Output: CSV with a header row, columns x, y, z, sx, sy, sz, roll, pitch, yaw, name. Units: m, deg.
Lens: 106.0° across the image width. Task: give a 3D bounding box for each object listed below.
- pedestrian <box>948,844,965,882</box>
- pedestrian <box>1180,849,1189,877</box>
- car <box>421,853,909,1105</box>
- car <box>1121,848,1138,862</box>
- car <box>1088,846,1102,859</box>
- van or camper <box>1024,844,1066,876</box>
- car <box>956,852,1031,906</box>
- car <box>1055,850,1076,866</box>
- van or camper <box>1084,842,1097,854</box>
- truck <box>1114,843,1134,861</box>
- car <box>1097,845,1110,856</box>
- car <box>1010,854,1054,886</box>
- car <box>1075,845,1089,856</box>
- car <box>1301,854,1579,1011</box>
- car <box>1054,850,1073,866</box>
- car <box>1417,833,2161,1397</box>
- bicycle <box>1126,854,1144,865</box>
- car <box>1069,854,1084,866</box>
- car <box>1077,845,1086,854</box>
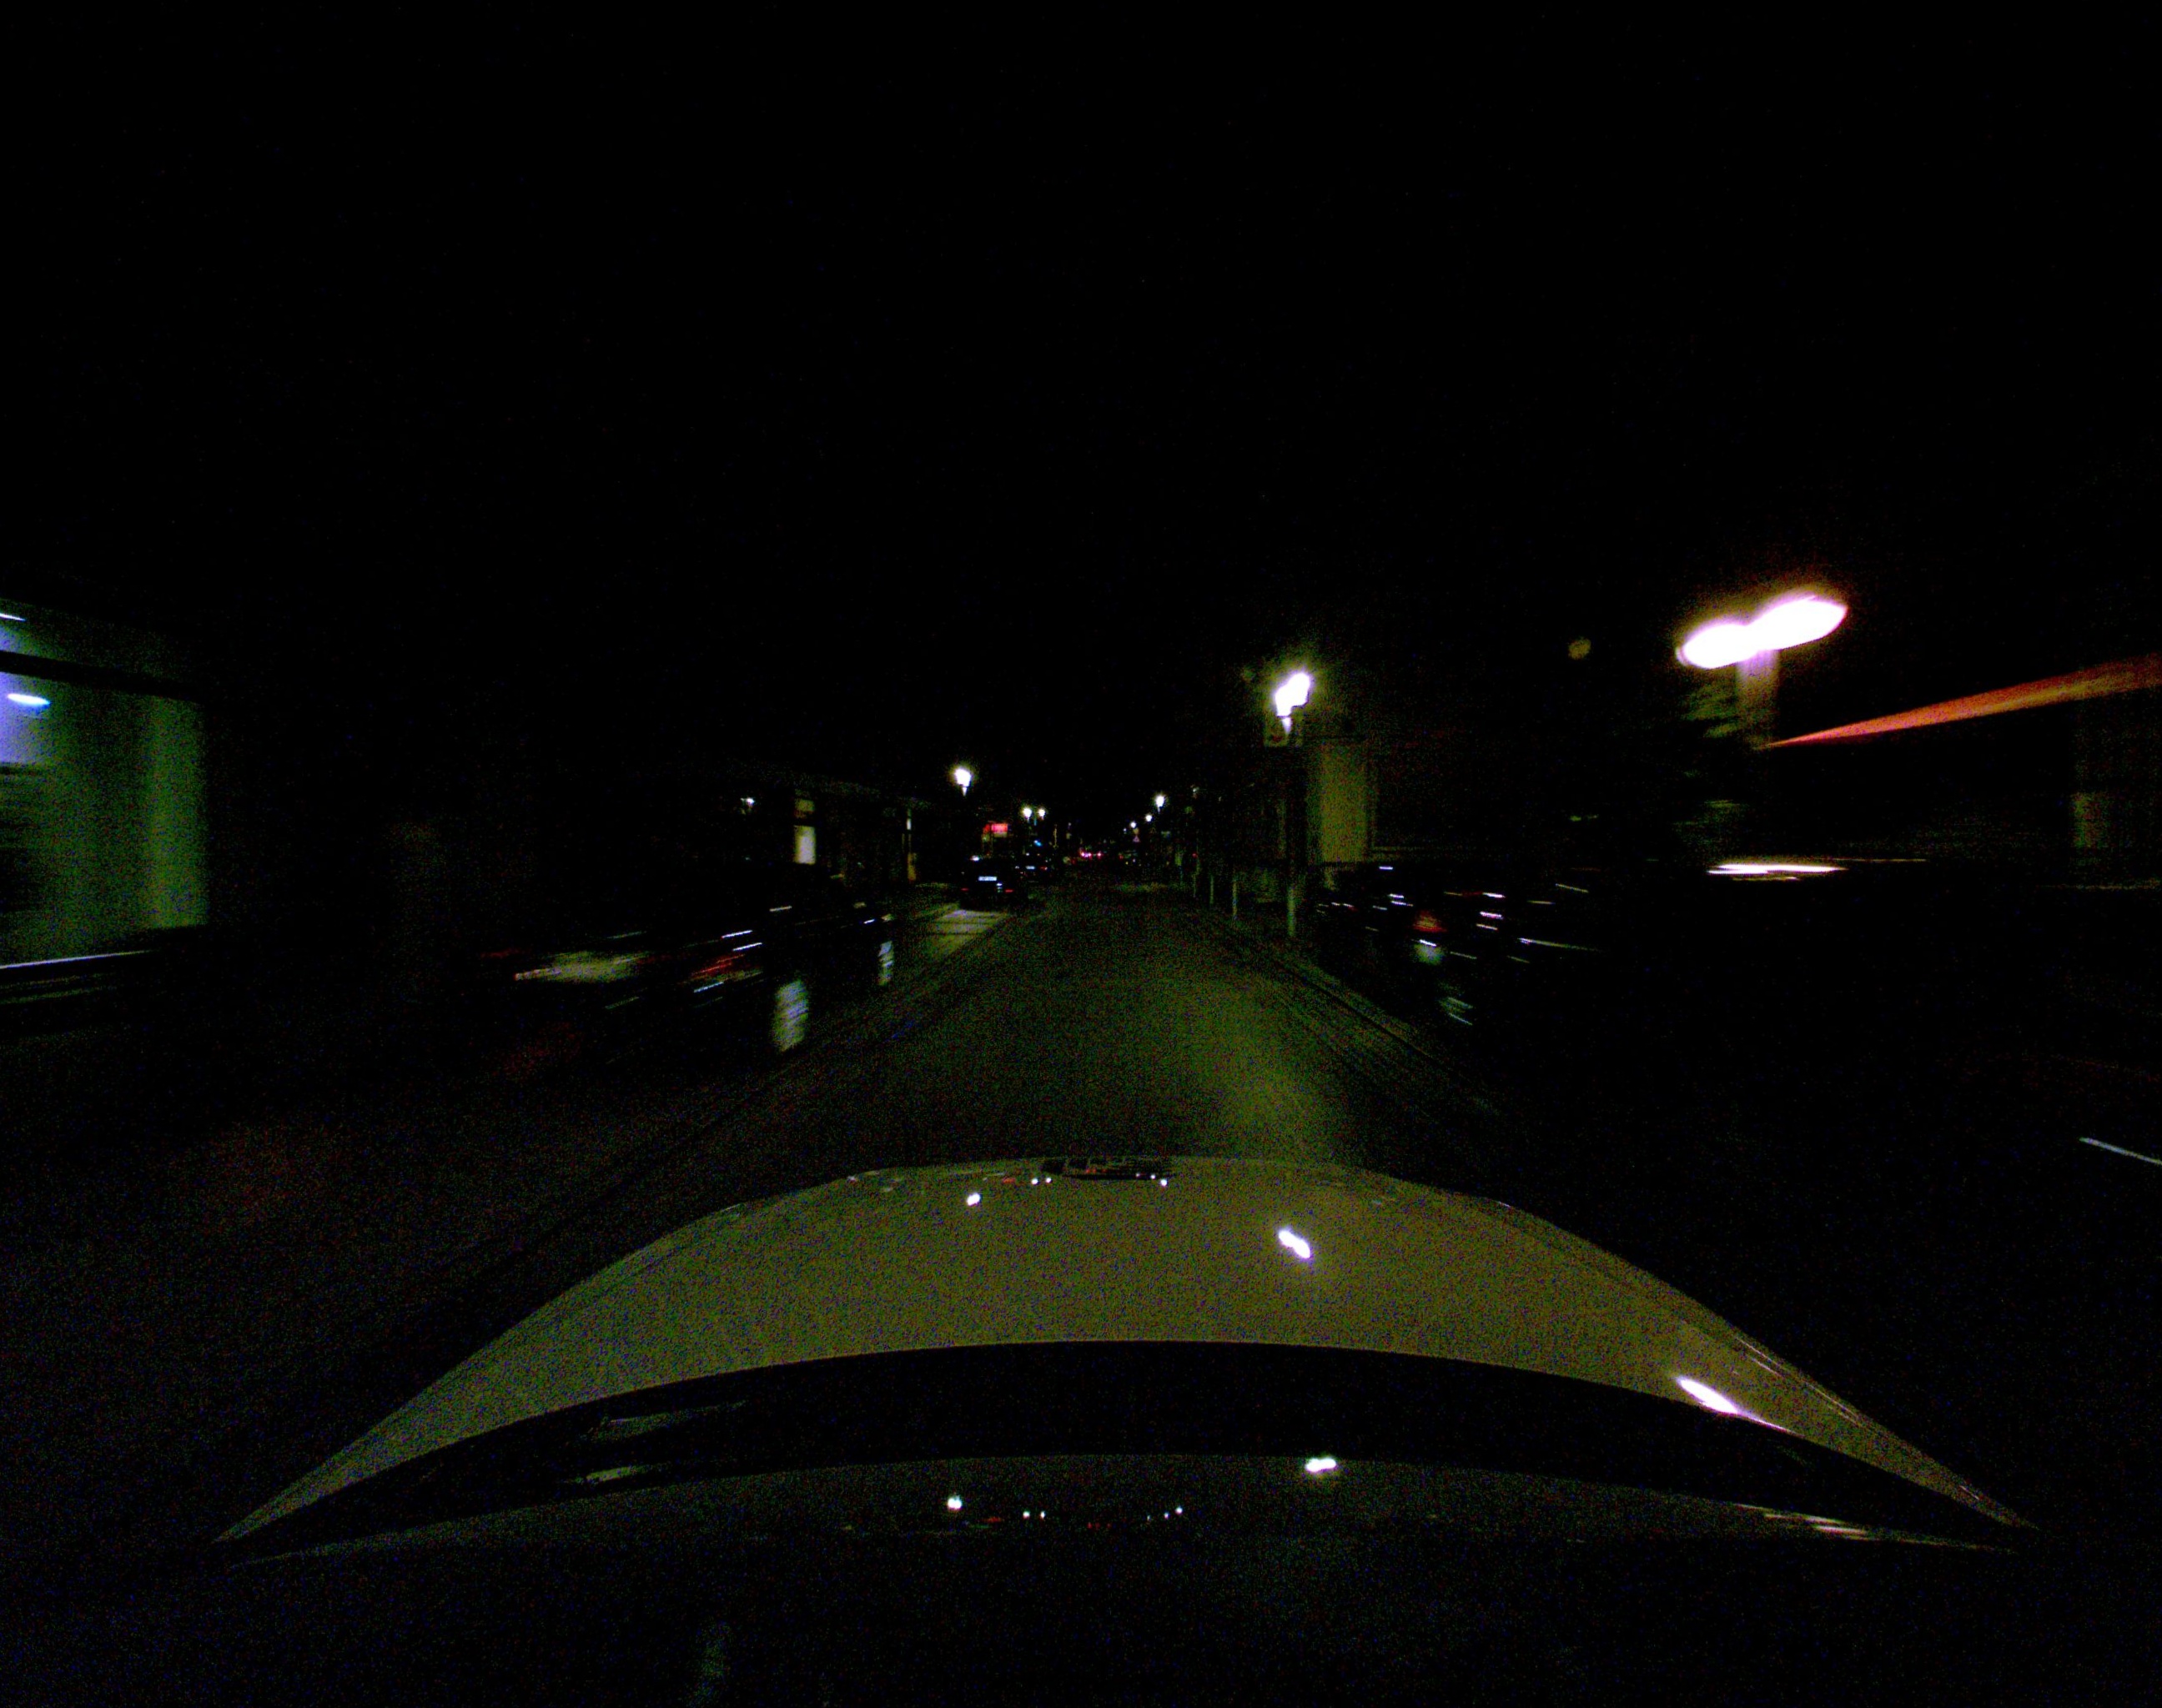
x,y,z,sx,sy,sz,roll,pitch,yaw,name
-5.907,0.423,38.686,0.619,1.745,1.023,0,0,1,pedestrian
5.918,0.516,46.373,0.498,1.547,0.481,1,0,7,pedestrian
-2.977,0.746,7.181,1.838,1.464,4.623,1,0,1,car
5.464,0.133,91.530,1.782,1.491,4.061,-2,0,2,car
1.978,-0.275,119.000,1.987,1.823,3.999,0,0,0,car
-2.240,0.335,51.739,1.836,1.942,5.163,1,0,6,van or camper
-2.626,0.709,25.345,1.791,1.478,4.321,2,0,0,car
-1.549,0.359,83.579,2.013,1.488,5.008,2,0,0,car
1.984,-1.217,168.753,2.106,2.317,4.254,-2,1,-6,van or camper
5.668,-0.252,107.075,2.328,2.312,5.781,-1,1,0,truck
3.990,-0.618,142.563,1.812,1.828,4.339,-1,0,-5,car
-2.307,0.712,39.516,1.710,1.413,4.387,1,0,2,car
0.108,-0.581,134.171,1.990,1.702,3.994,0,0,-4,car
3.839,0.726,9.519,1.653,1.377,4.108,-2,0,4,car
-1.617,0.361,77.909,1.723,1.476,3.846,1,0,0,car
3.472,0.681,4.359,1.745,1.464,4.472,-2,0,4,car
5.326,0.500,79.949,1.750,1.062,0.346,-1,0,-2,bicycle
-0.664,0.801,111.448,1.671,1.543,4.223,0,0,-5,car
0.036,-1.060,187.309,1.836,1.901,3.840,-1,0,-4,car
